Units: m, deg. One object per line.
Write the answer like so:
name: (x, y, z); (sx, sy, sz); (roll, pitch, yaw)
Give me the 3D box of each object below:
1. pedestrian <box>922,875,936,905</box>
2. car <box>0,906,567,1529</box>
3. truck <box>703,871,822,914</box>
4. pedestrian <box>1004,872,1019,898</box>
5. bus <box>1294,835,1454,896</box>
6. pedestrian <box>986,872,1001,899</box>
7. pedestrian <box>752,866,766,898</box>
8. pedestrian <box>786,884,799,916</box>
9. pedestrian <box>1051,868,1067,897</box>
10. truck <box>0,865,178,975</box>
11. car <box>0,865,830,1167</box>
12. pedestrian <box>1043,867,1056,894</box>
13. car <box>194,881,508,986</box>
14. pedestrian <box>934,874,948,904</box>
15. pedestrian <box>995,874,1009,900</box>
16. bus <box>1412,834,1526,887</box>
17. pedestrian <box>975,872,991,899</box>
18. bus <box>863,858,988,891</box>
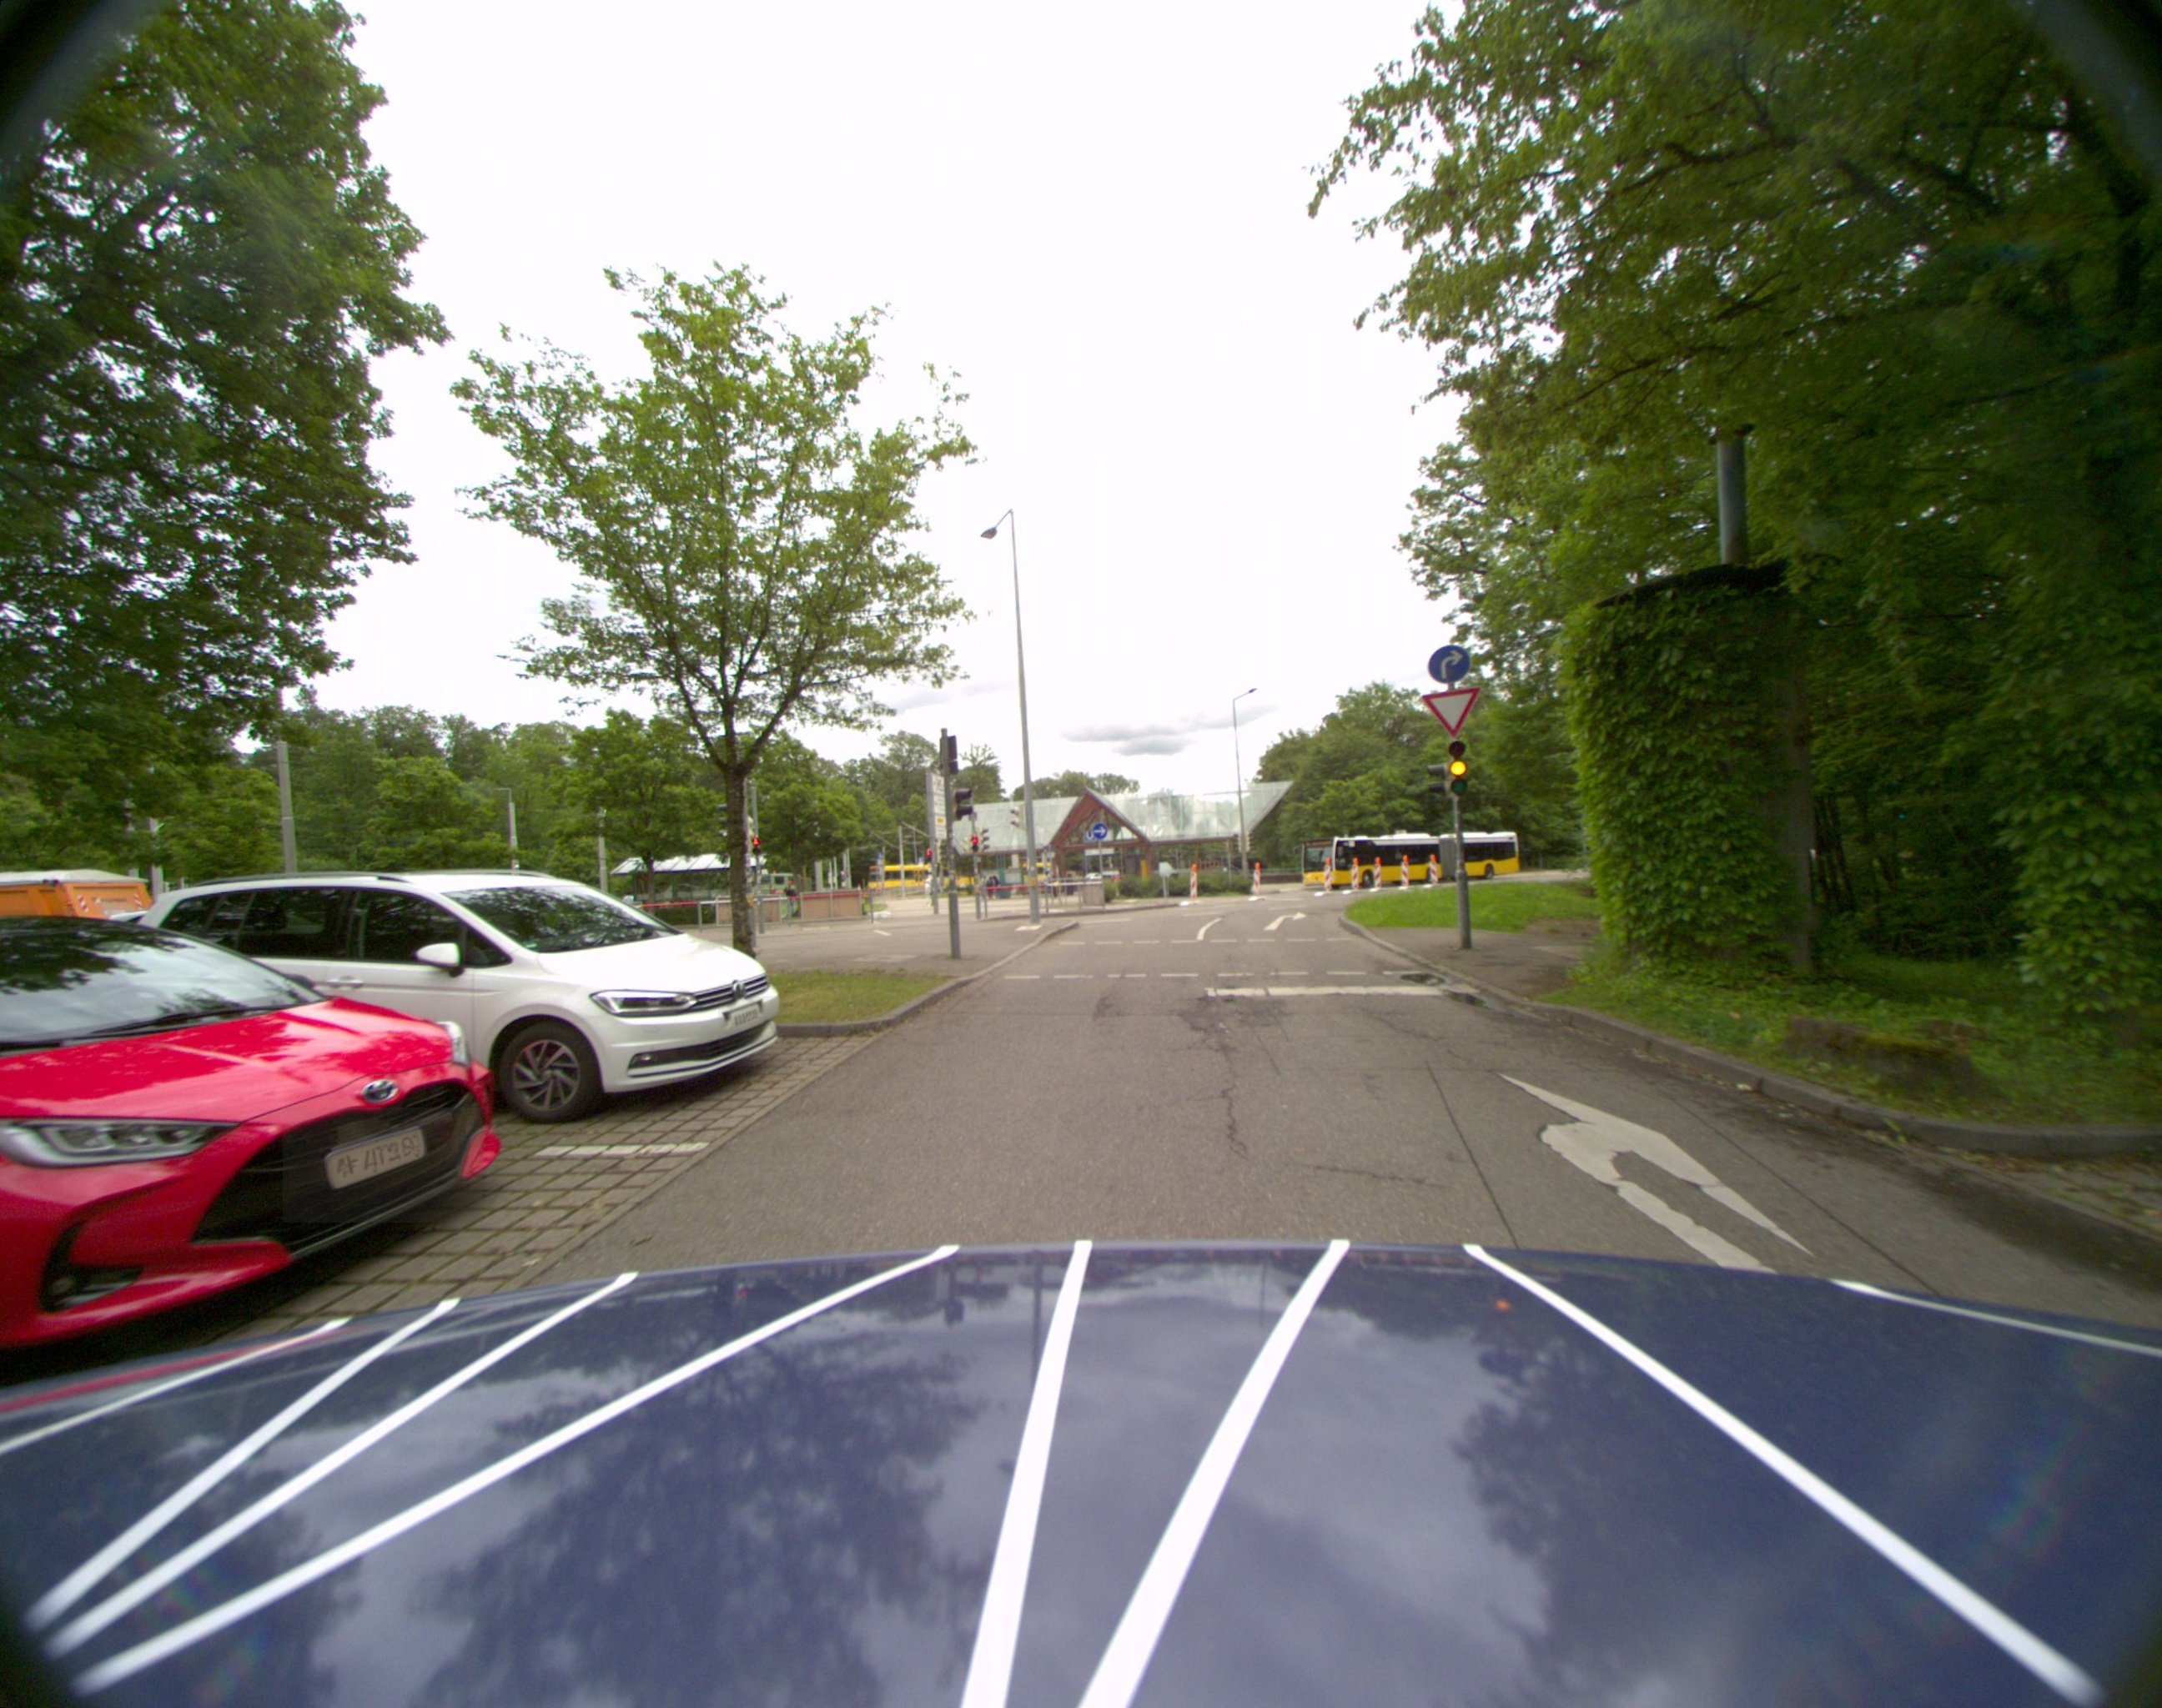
pedestrian: (-9.247, 2.197, 46.264); (0.737, 1.746, 0.668); (-4, -2, -11)
car: (-4.793, 1.164, 3.185); (4.005, 1.546, 1.948); (-4, -1, 7)
truck: (-20.570, 2.448, 49.341); (2.401, 2.337, 6.557); (-6, -3, 43)
pedestrian: (-4.742, 2.105, 51.875); (0.601, 1.746, 0.667); (-3, -2, -34)
bus: (17.823, 0.647, 45.823); (10.533, 3.139, 2.807); (-2, -2, -30)
pedestrian: (-5.989, 2.152, 52.013); (0.560, 1.746, 0.670); (-6, -2, 42)
pedestrian: (-15.463, 1.358, 36.522); (0.480, 1.507, 0.522); (-3, -2, -28)
pedestrian: (-14.090, 2.249, 37.120); (0.480, 1.507, 0.522); (-3, -2, -28)
pedestrian: (-1.410, 1.788, 47.873); (0.667, 1.746, 0.657); (-5, -2, 25)
truck: (-37.127, 2.297, 26.065); (8.244, 3.493, 2.867); (-2, -1, -5)
car: (-4.559, 1.038, 5.659); (4.529, 1.683, 2.166); (-2, 1, 6)
pedestrian: (-2.099, 1.751, 50.394); (0.656, 1.746, 0.668); (-4, -2, -10)
car: (-15.664, 1.649, 16.728); (4.585, 1.739, 1.996); (-3, -2, -30)
pedestrian: (-8.620, 2.148, 46.729); (0.737, 1.746, 0.668); (-4, -2, -12)
pedestrian: (-5.372, 2.233, 51.725); (0.601, 1.746, 0.667); (-3, -2, -34)
bus: (25.779, 0.398, 50.383); (7.768, 3.139, 2.807); (-2, -2, -30)
pedestrian: (-6.747, 2.153, 52.177); (0.732, 1.746, 0.738); (-5, -2, 15)
bus: (-18.894, 2.420, 95.287); (3.970, 3.461, 18.613); (-5, -2, 29)
